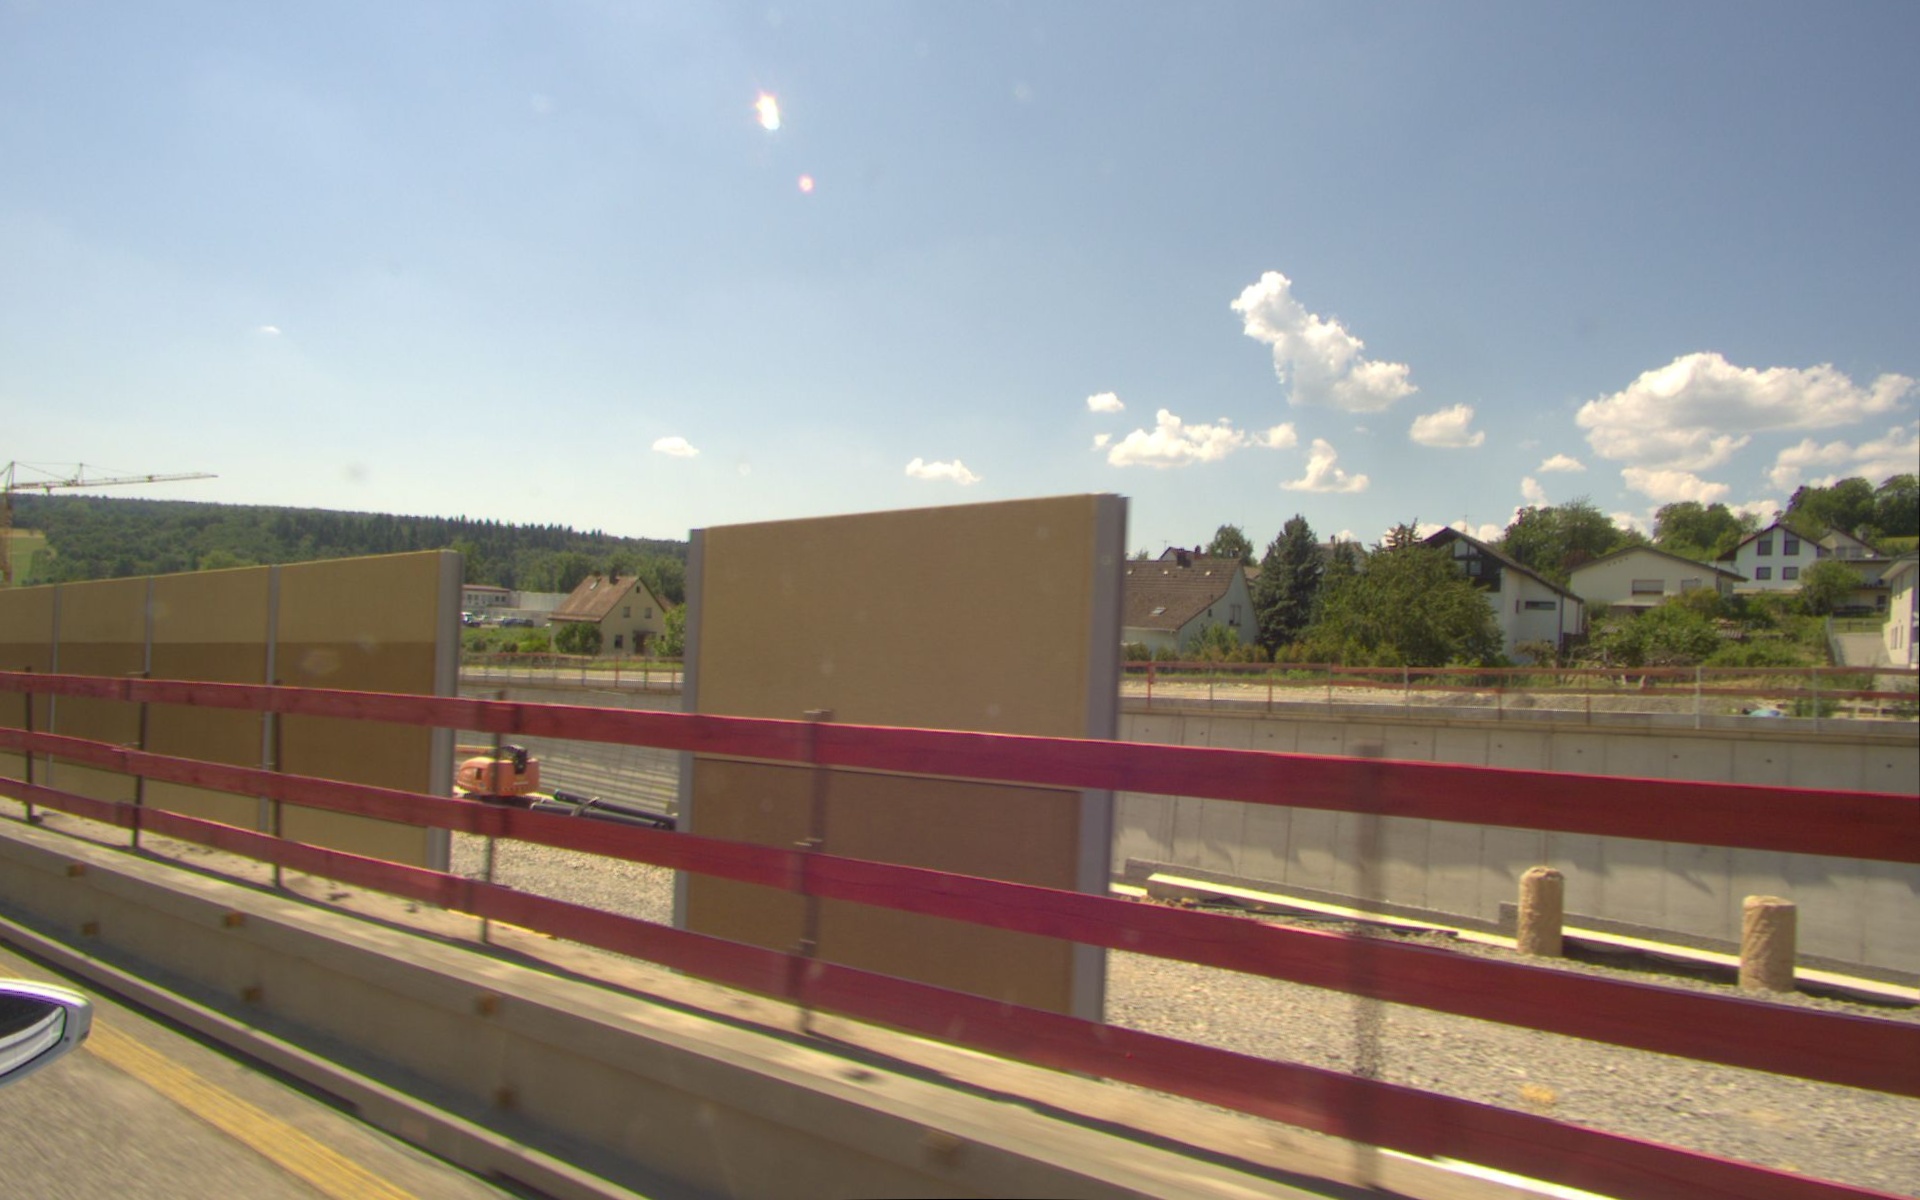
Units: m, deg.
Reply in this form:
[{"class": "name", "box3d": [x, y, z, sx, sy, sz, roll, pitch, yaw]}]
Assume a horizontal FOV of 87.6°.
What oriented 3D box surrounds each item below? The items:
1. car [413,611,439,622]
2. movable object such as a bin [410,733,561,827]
[{"class": "car", "box3d": [-78.120, 2.388, 146.563, 4.019, 1.537, 1.710, -1, -2, 34]}, {"class": "movable object such as a bin", "box3d": [-16.027, 5.982, 33.799, 4.390, 2.520, 2.605, 0, -3, 32]}]
